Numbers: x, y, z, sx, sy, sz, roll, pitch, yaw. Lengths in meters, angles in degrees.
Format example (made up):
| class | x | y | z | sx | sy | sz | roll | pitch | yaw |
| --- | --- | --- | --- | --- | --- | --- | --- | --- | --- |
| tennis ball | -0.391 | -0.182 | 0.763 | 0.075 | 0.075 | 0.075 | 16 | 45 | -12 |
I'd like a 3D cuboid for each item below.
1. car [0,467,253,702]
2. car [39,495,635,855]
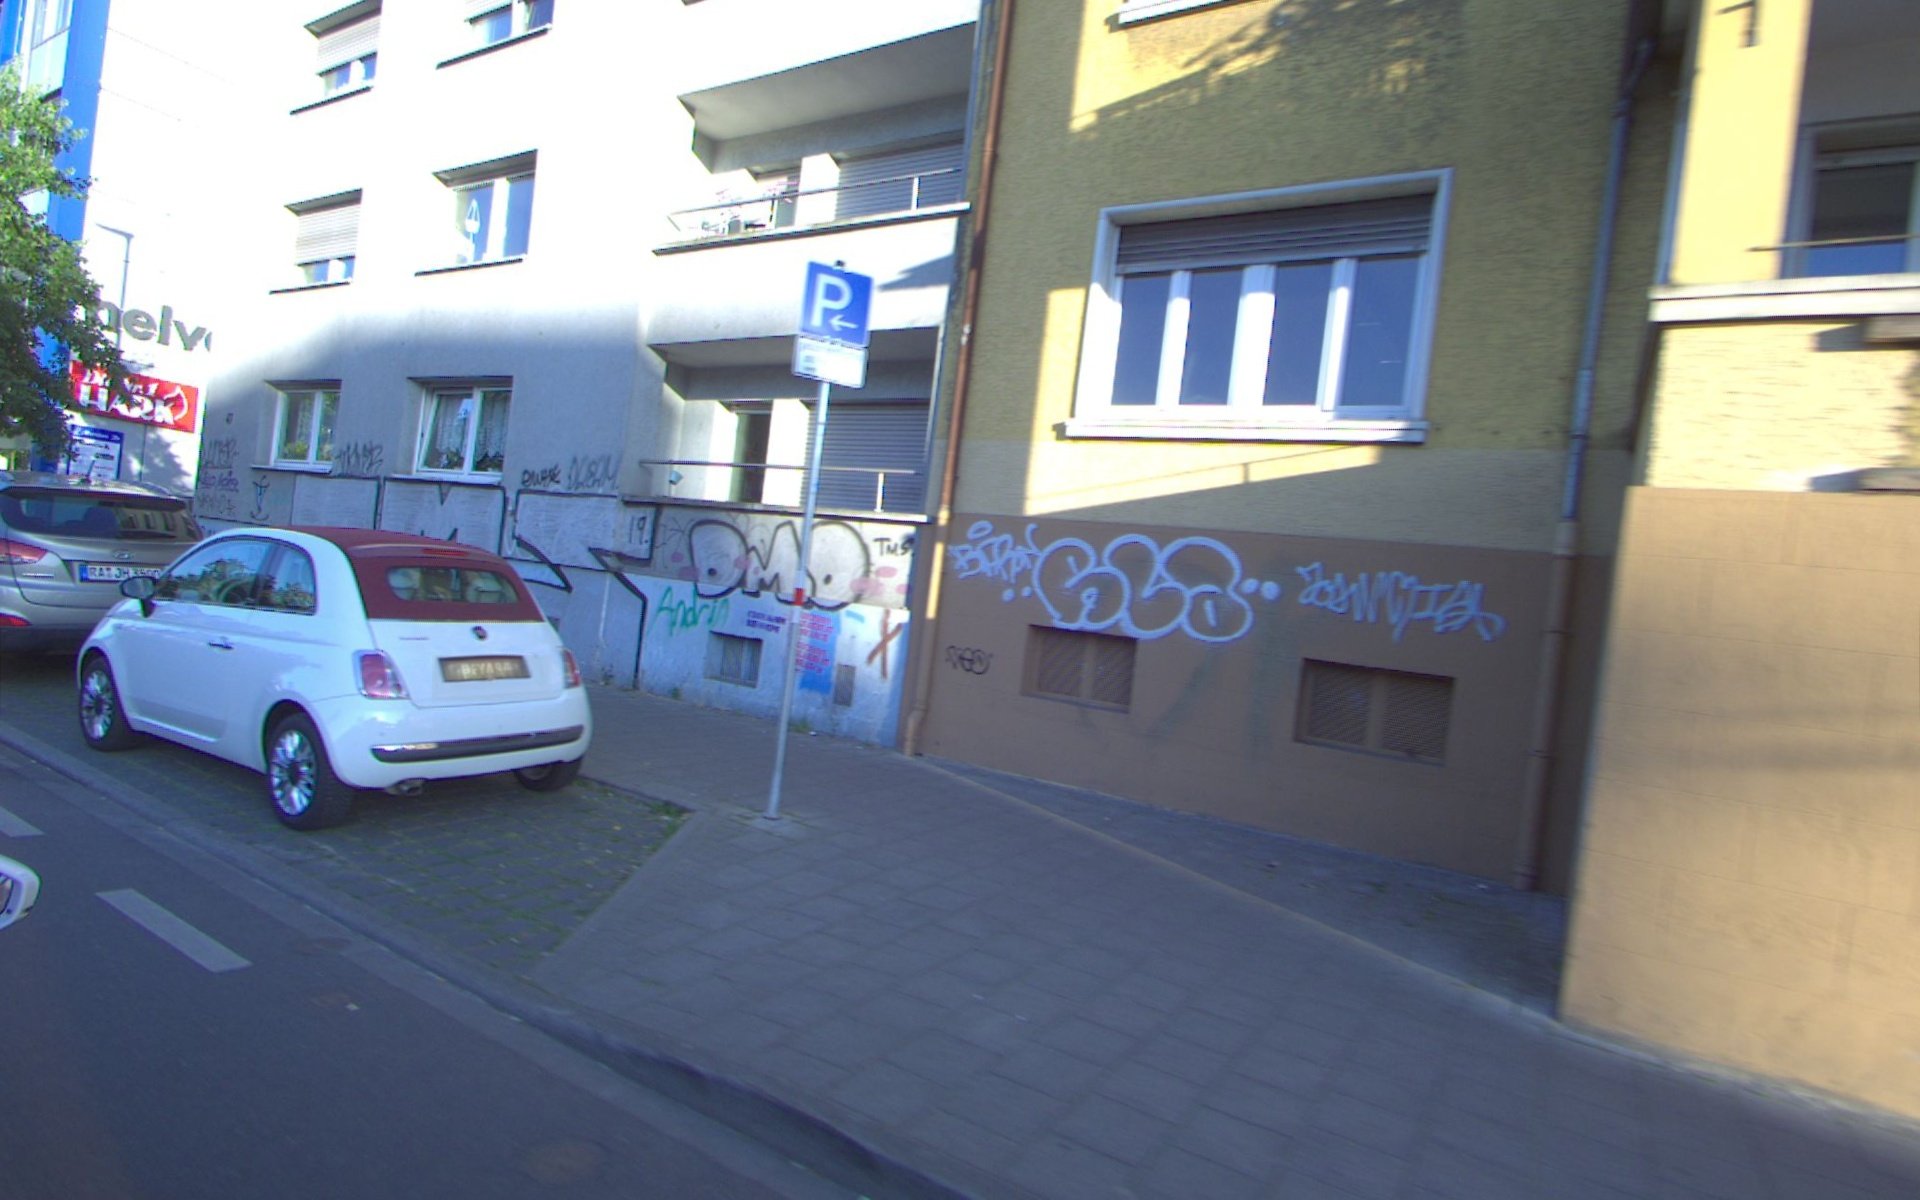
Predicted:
| class | x | y | z | sx | sy | sz | roll | pitch | yaw |
| --- | --- | --- | --- | --- | --- | --- | --- | --- | --- |
| car | -8.345 | -0.297 | 8.925 | 4.454 | 1.676 | 1.757 | 7 | 2 | 32 |
| car | -3.967 | 0.275 | 6.302 | 3.540 | 1.539 | 1.669 | 7 | 3 | 30 |
